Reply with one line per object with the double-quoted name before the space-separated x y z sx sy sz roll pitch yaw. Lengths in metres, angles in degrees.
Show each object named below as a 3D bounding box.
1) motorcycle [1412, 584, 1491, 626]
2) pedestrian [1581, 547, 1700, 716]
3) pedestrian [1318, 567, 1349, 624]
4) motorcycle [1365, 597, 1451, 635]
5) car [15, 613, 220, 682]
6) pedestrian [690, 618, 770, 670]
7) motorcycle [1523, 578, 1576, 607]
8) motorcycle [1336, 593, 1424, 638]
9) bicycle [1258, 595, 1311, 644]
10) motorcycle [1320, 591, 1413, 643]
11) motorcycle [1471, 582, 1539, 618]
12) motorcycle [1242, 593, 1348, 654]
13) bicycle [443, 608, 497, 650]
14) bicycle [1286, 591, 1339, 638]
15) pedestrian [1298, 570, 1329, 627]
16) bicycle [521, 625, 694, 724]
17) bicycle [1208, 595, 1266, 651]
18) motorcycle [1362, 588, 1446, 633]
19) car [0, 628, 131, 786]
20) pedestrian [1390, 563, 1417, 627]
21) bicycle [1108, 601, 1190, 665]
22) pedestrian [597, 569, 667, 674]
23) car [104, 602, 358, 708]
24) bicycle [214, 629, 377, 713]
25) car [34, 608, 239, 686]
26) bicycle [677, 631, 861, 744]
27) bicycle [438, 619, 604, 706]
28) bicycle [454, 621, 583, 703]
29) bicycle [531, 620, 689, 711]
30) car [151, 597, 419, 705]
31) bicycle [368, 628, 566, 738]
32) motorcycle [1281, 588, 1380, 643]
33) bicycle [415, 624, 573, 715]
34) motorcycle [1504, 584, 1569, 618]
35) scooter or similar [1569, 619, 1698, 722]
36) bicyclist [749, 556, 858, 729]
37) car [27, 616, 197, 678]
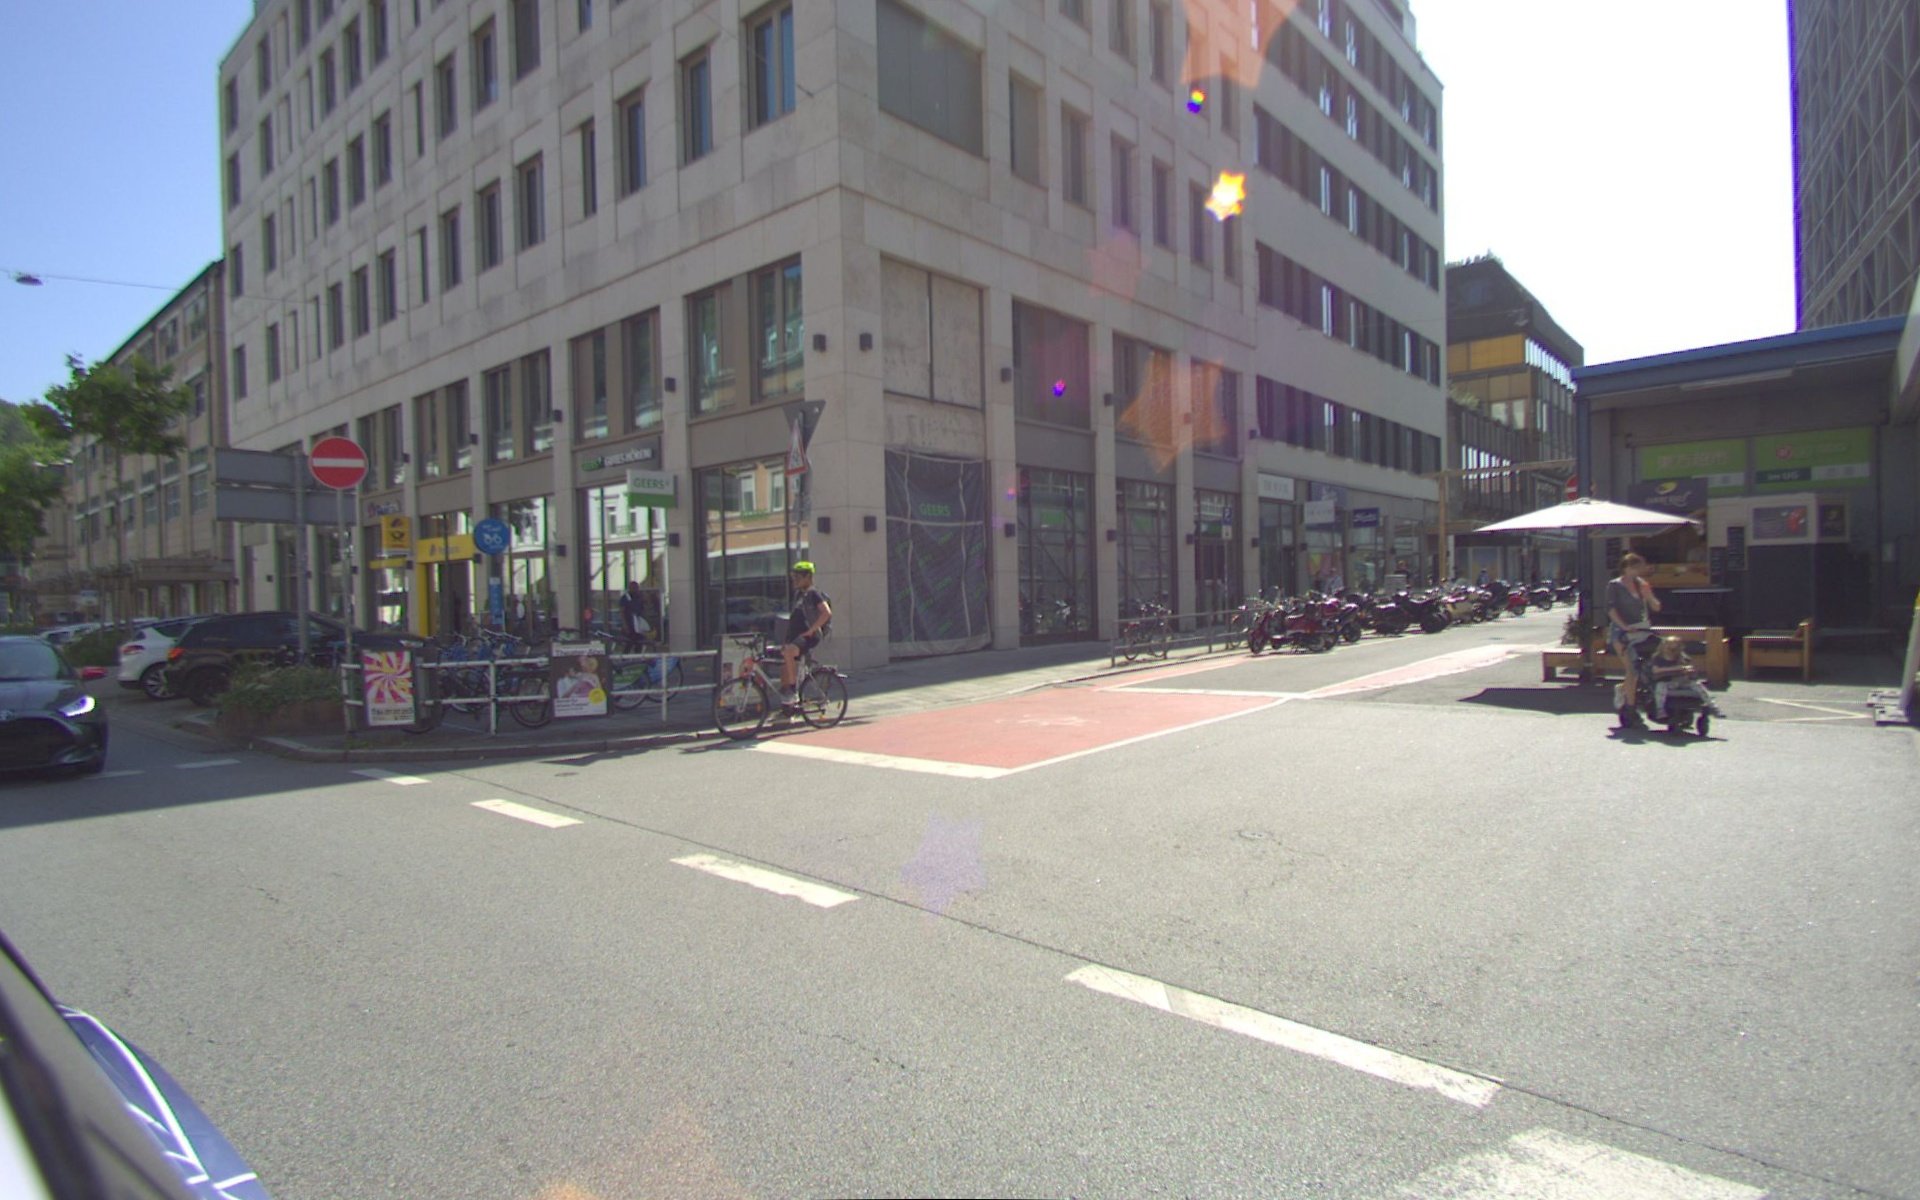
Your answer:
"motorcycle" 15.058 0.149 31.026 2.034 1.205 0.708 -2 0 -3
"pedestrian" 7.142 0.319 10.667 0.835 1.670 0.838 -3 3 22
"pedestrian" 11.794 -0.136 31.926 0.667 1.771 0.757 -1 -1 42
"motorcycle" 12.445 0.438 28.159 2.040 0.946 0.705 -3 1 8
"car" -25.640 1.389 31.042 4.426 1.442 1.869 -7 4 -29
"pedestrian" -4.472 0.838 19.690 0.841 0.932 1.237 -2 0 40
"motorcycle" 26.033 -0.343 44.707 1.854 1.182 0.703 -3 1 20
"motorcycle" 11.129 0.405 26.847 2.036 1.075 0.605 -3 1 0
"bicycle" 8.050 0.460 25.061 0.454 1.135 2.036 -3 -1 41
"motorcycle" 10.280 0.426 25.629 2.039 1.182 0.604 -3 0 7
"motorcycle" 19.528 -0.008 36.290 2.033 1.182 0.708 -3 1 -4
"motorcycle" 7.112 0.516 21.589 2.045 1.182 0.654 -3 -2 15
"bicycle" -13.695 0.818 28.266 2.160 1.115 0.490 -2 2 42
"bicycle" 9.371 0.376 26.828 0.570 1.117 2.036 -3 1 41
"pedestrian" 11.302 -0.046 32.362 0.667 1.771 0.757 -1 -1 42
"bicycle" -4.505 0.935 13.057 2.030 1.178 0.607 -1 0 -12
"bicycle" 6.338 0.498 23.080 0.454 1.135 2.037 3 5 39
"motorcycle" 12.850 0.294 29.325 2.036 1.182 0.707 -3 1 0
"car" -10.581 1.096 10.927 4.104 1.489 1.844 -3 -4 41
"pedestrian" 16.380 -0.184 37.359 0.667 2.309 0.757 -1 -1 42
"bicycle" 3.778 0.621 20.106 0.640 1.135 2.036 3 3 41
"pedestrian" -6.294 0.401 19.425 0.844 1.892 0.830 -1 4 42
"car" -15.398 1.073 21.493 4.107 1.648 2.106 -7 4 -40
"bicycle" -10.777 1.128 16.482 0.485 1.135 2.118 -3 1 42
"car" -23.117 1.284 28.604 3.971 1.604 1.825 -6 4 -16
"bicycle" -2.222 0.987 11.943 1.962 1.135 0.800 -2 -1 -42
"bicycle" -6.860 0.957 15.902 2.289 1.135 0.564 -4 2 -24
"bicycle" -7.131 0.983 16.402 1.835 1.135 0.486 -4 1 -24
"bicycle" -4.935 0.898 14.302 2.029 1.135 0.649 -2 0 -22
"car" -12.705 0.893 19.402 3.965 1.614 1.965 -4 3 -26
"bicycle" -5.893 0.984 12.177 2.034 1.182 0.606 -2 1 -3
"motorcycle" 8.801 0.372 24.114 2.039 1.182 0.653 -3 -1 7
"bicycle" -6.889 1.005 15.039 2.029 1.135 0.564 -4 1 -24
"motorcycle" 21.787 0.035 38.277 2.033 1.182 0.708 -3 1 -4
"scooter or similar" 6.999 0.709 10.575 0.895 0.972 0.966 -1 1 21
"bicyclist" -1.887 0.482 12.185 0.832 1.974 1.018 -1 0 -43
"car" -27.738 1.478 33.193 1.819 1.539 3.948 1 5 40
